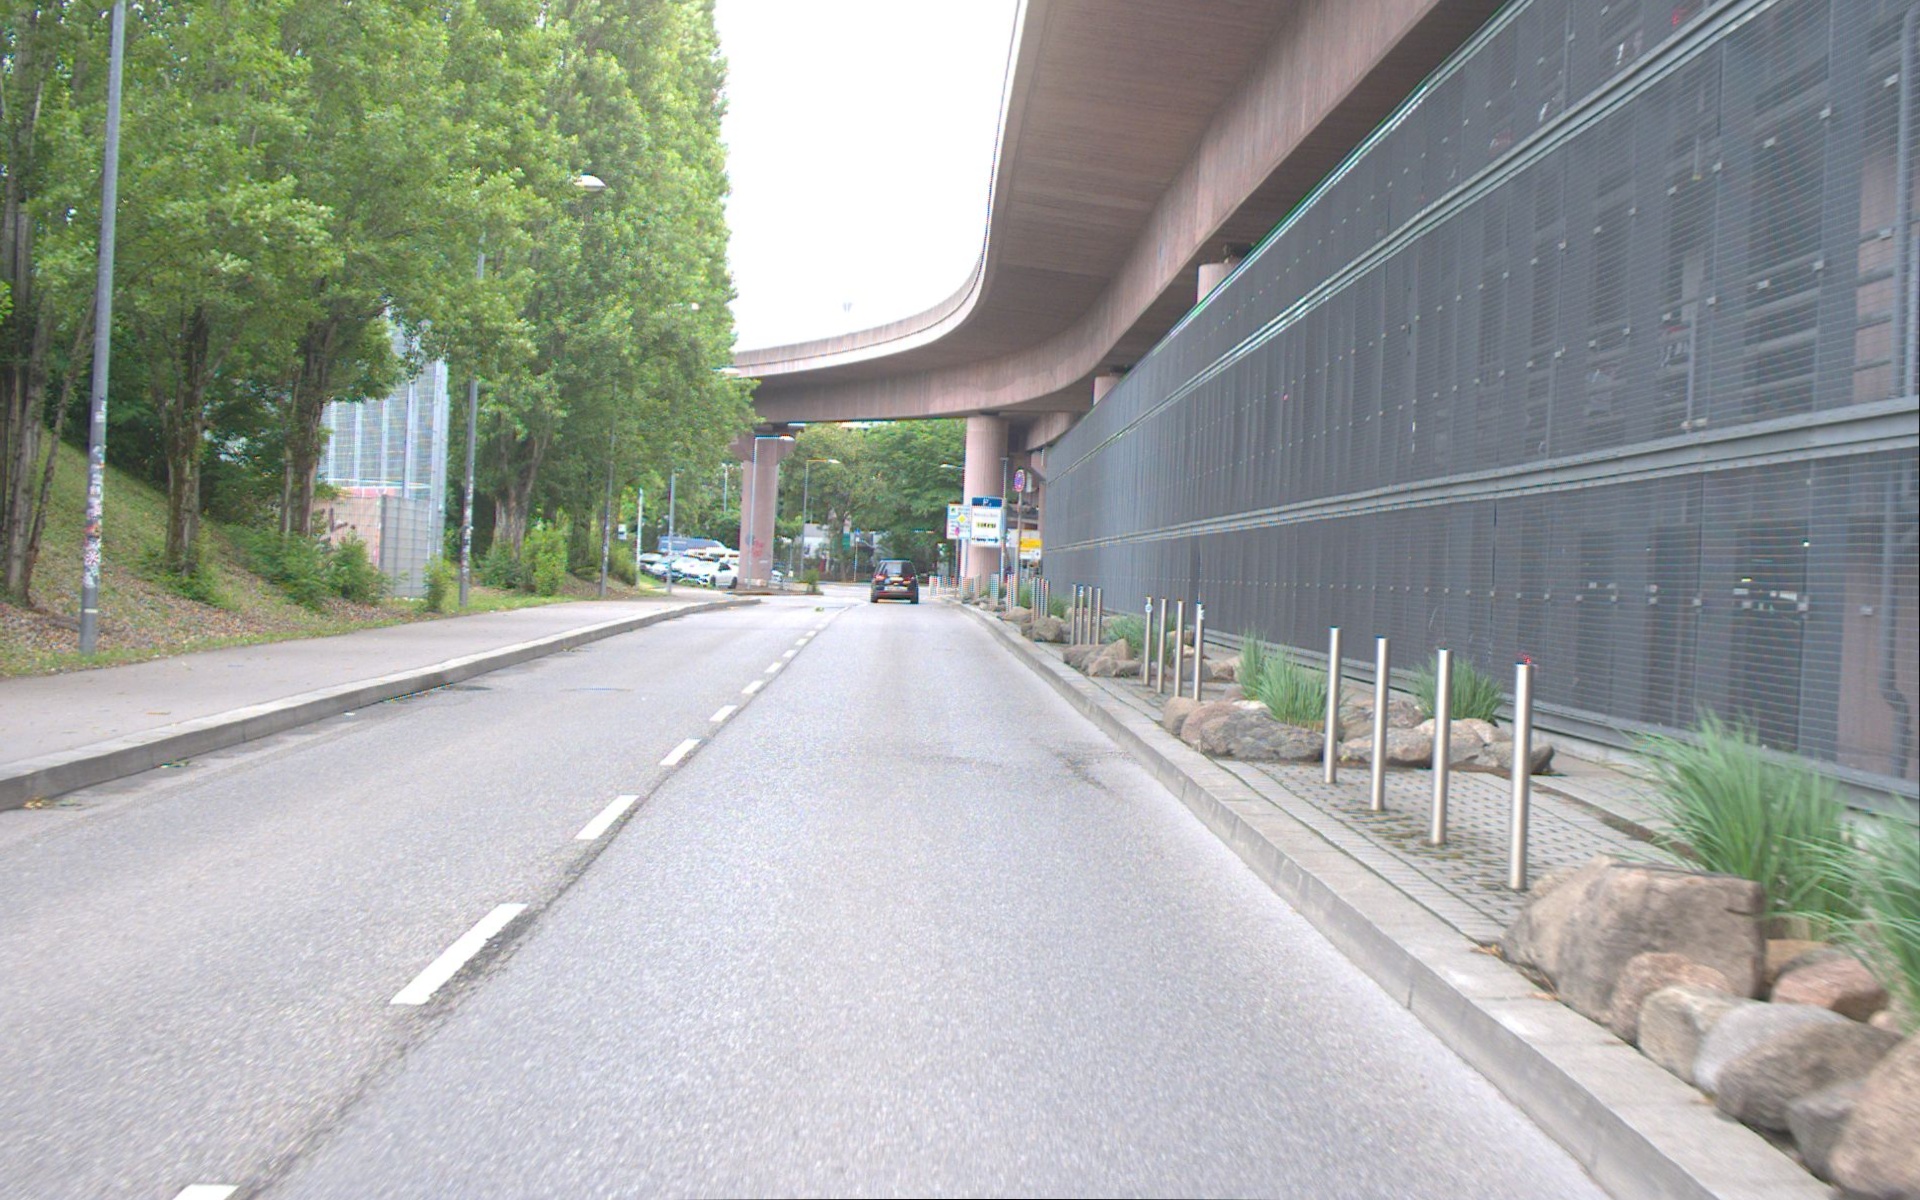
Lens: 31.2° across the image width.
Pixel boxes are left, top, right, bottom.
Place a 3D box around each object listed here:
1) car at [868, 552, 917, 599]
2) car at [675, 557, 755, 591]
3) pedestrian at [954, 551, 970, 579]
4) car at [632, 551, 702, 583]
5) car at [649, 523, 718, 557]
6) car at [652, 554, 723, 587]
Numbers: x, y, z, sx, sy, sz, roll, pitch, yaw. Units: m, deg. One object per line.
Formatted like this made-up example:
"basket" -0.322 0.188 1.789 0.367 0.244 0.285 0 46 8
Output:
"car" -2.684 -0.977 137.021 1.839 1.705 3.706 2 2 -1
"car" -13.103 -1.385 184.058 1.884 1.711 4.143 4 3 40
"pedestrian" 0.134 -2.402 233.797 0.769 1.870 0.824 1 2 -31
"car" -16.342 -1.821 191.795 1.724 1.711 3.664 4 3 40
"car" -17.505 -3.798 217.834 4.213 2.007 2.000 2 1 -2
"car" -14.908 -1.610 187.909 1.724 1.711 3.664 4 3 40
